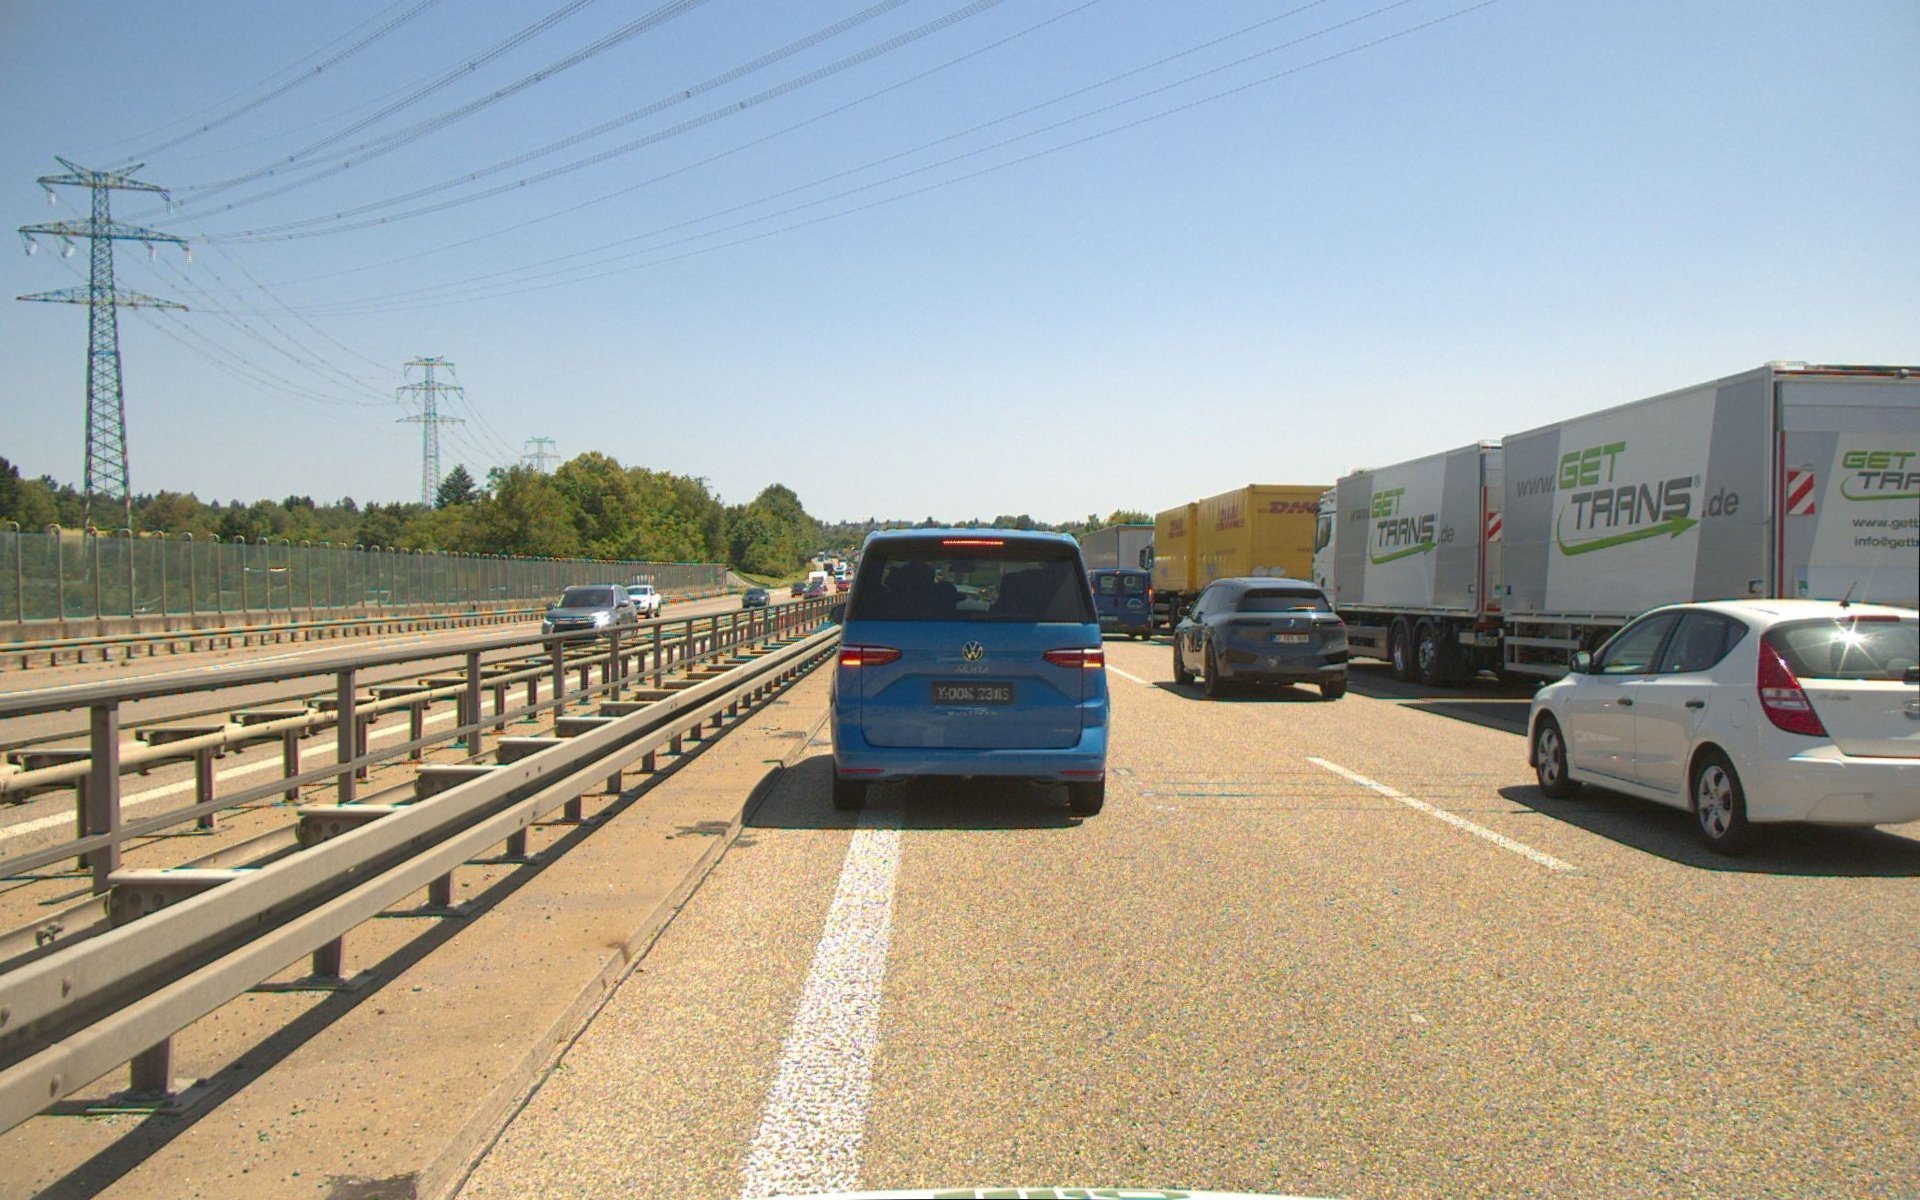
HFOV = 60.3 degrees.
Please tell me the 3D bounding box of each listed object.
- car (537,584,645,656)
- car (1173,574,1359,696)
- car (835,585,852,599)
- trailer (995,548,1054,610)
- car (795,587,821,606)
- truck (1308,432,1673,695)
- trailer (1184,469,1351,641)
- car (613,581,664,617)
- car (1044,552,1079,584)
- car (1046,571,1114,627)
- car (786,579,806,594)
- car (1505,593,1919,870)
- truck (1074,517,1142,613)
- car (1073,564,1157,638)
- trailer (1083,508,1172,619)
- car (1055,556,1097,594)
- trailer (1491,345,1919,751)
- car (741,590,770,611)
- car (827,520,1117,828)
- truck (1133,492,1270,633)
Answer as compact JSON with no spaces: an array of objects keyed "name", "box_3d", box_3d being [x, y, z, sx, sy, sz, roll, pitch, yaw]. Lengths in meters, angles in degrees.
[{"name":"car","box_3d":[-9.225,0.446,41.641,1.769,1.655,4.477,-2,1,-1]},{"name":"car","box_3d":[4.486,0.464,24.880,1.922,1.673,4.292,0,1,-1]},{"name":"car","box_3d":[-13.285,-0.914,188.670,1.755,1.504,3.988,-1,0,-1]},{"name":"trailer","box_3d":[3.322,-1.057,87.115,2.517,3.042,10.661,1,0,-1]},{"name":"car","box_3d":[-11.394,-0.249,124.168,1.565,1.340,4.340,-2,1,-2]},{"name":"truck","box_3d":[8.675,-0.575,28.925,2.603,3.711,11.007,0,1,-2]},{"name":"trailer","box_3d":[8.428,-1.160,46.589,2.806,4.313,9.009,1,0,-1]},{"name":"car","box_3d":[-18.073,-0.071,93.200,1.953,1.918,5.254,-1,1,-2]},{"name":"car","box_3d":[6.764,-2.103,110.460,1.953,2.049,4.460,-1,0,-1]},{"name":"car","box_3d":[4.092,-0.066,56.898,1.953,1.847,3.999,0,1,-1]},{"name":"car","box_3d":[-16.922,-1.421,170.872,1.695,1.517,4.418,-2,1,-2]},{"name":"car","box_3d":[5.288,0.706,11.143,1.752,1.481,4.292,0,1,-1]},{"name":"truck","box_3d":[7.280,-1.683,82.273,2.613,4.562,6.848,1,0,-1]},{"name":"car","box_3d":[4.402,-0.001,47.565,1.922,2.028,4.292,0,1,-1]},{"name":"trailer","box_3d":[7.446,-1.595,75.018,2.583,4.595,11.299,1,1,-1]},{"name":"car","box_3d":[6.487,-1.363,92.806,1.953,2.049,3.999,1,0,-1]},{"name":"trailer","box_3d":[8.928,-0.525,19.414,2.643,3.765,8.012,0,1,-2]},{"name":"car","box_3d":[-14.466,-0.005,117.291,1.565,1.373,4.178,-2,1,-1]},{"name":"car","box_3d":[0.046,0.452,12.355,1.783,1.889,4.074,1,0,-1]},{"name":"truck","box_3d":[8.050,-1.187,56.660,2.779,4.317,11.007,1,0,-1]}]
